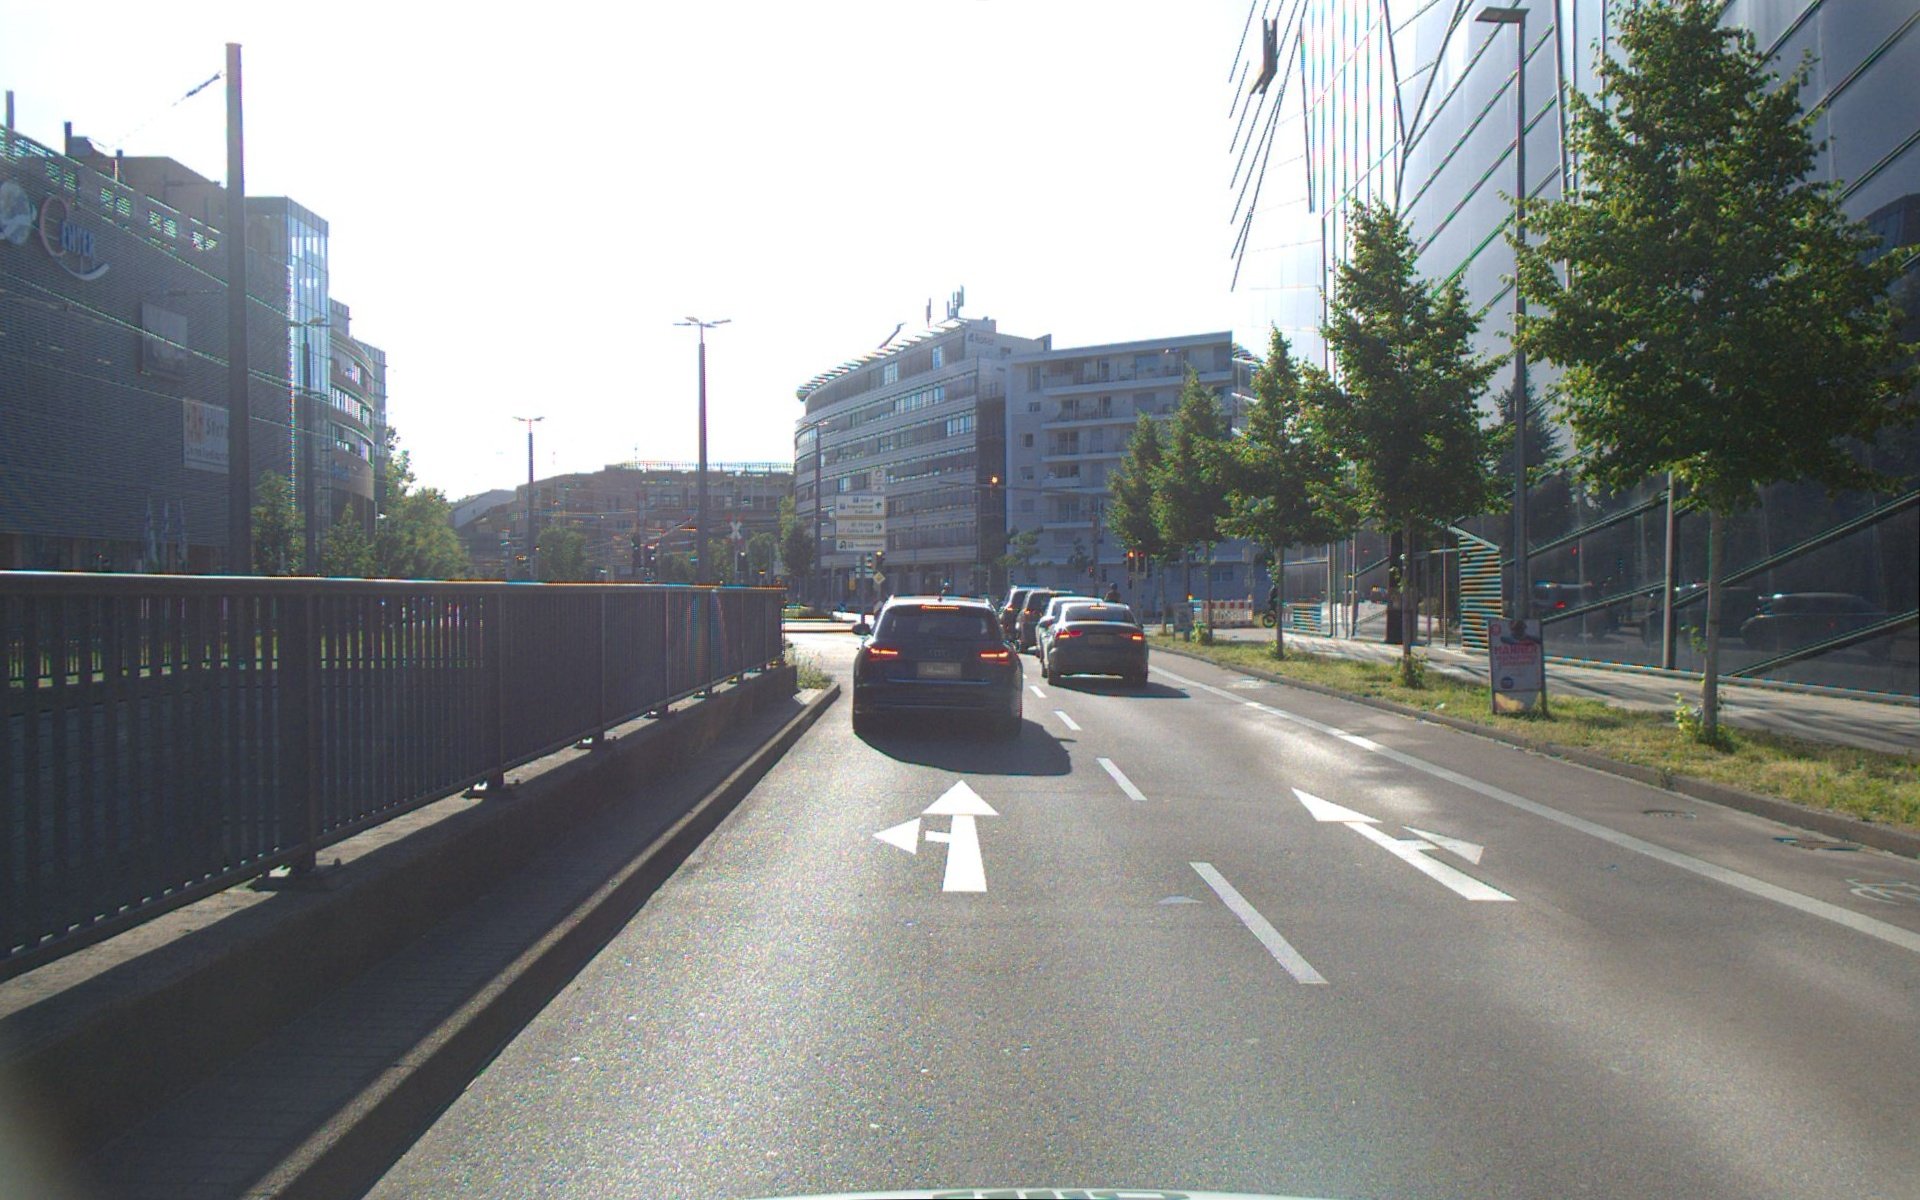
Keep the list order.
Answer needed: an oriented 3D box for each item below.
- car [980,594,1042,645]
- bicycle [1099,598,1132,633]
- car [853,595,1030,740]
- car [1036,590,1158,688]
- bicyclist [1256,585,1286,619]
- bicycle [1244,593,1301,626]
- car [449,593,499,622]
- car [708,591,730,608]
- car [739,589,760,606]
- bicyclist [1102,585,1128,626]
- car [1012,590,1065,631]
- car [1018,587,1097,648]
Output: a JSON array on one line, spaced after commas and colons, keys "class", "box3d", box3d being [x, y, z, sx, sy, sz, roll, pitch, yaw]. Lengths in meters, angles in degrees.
[{"class": "car", "box3d": [1.640, 0.602, 54.013, 1.952, 1.491, 4.001, 1, 1, 1]}, {"class": "bicycle", "box3d": [5.528, 0.542, 59.033, 0.710, 1.204, 2.090, -2, 0, -7]}, {"class": "car", "box3d": [-0.233, 0.680, 19.090, 1.775, 1.452, 4.688, 0, 0, -1]}, {"class": "car", "box3d": [2.366, 0.631, 29.465, 1.815, 1.573, 4.000, 1, 1, 0]}, {"class": "bicyclist", "box3d": [12.007, 0.073, 63.875, 1.011, 1.291, 0.727, -2, 0, 4]}, {"class": "bicycle", "box3d": [12.069, 0.357, 63.887, 2.043, 1.205, 0.727, -2, 0, 4]}, {"class": "car", "box3d": [-30.440, 0.463, 103.669, 1.953, 1.747, 3.999, -2, 0, -1]}, {"class": "car", "box3d": [-26.687, -0.049, 183.358, 1.954, 1.780, 3.998, -2, 0, -3]}, {"class": "car", "box3d": [-23.006, -0.245, 180.890, 1.954, 1.780, 3.997, -2, 0, -4]}, {"class": "bicyclist", "box3d": [5.532, 0.190, 59.054, 0.710, 1.443, 0.890, -2, 0, -7]}, {"class": "car", "box3d": [3.086, 0.373, 65.632, 1.952, 1.491, 4.001, 1, 1, 1]}, {"class": "car", "box3d": [2.564, 0.433, 44.329, 1.952, 1.491, 4.001, 1, 1, 1]}]
